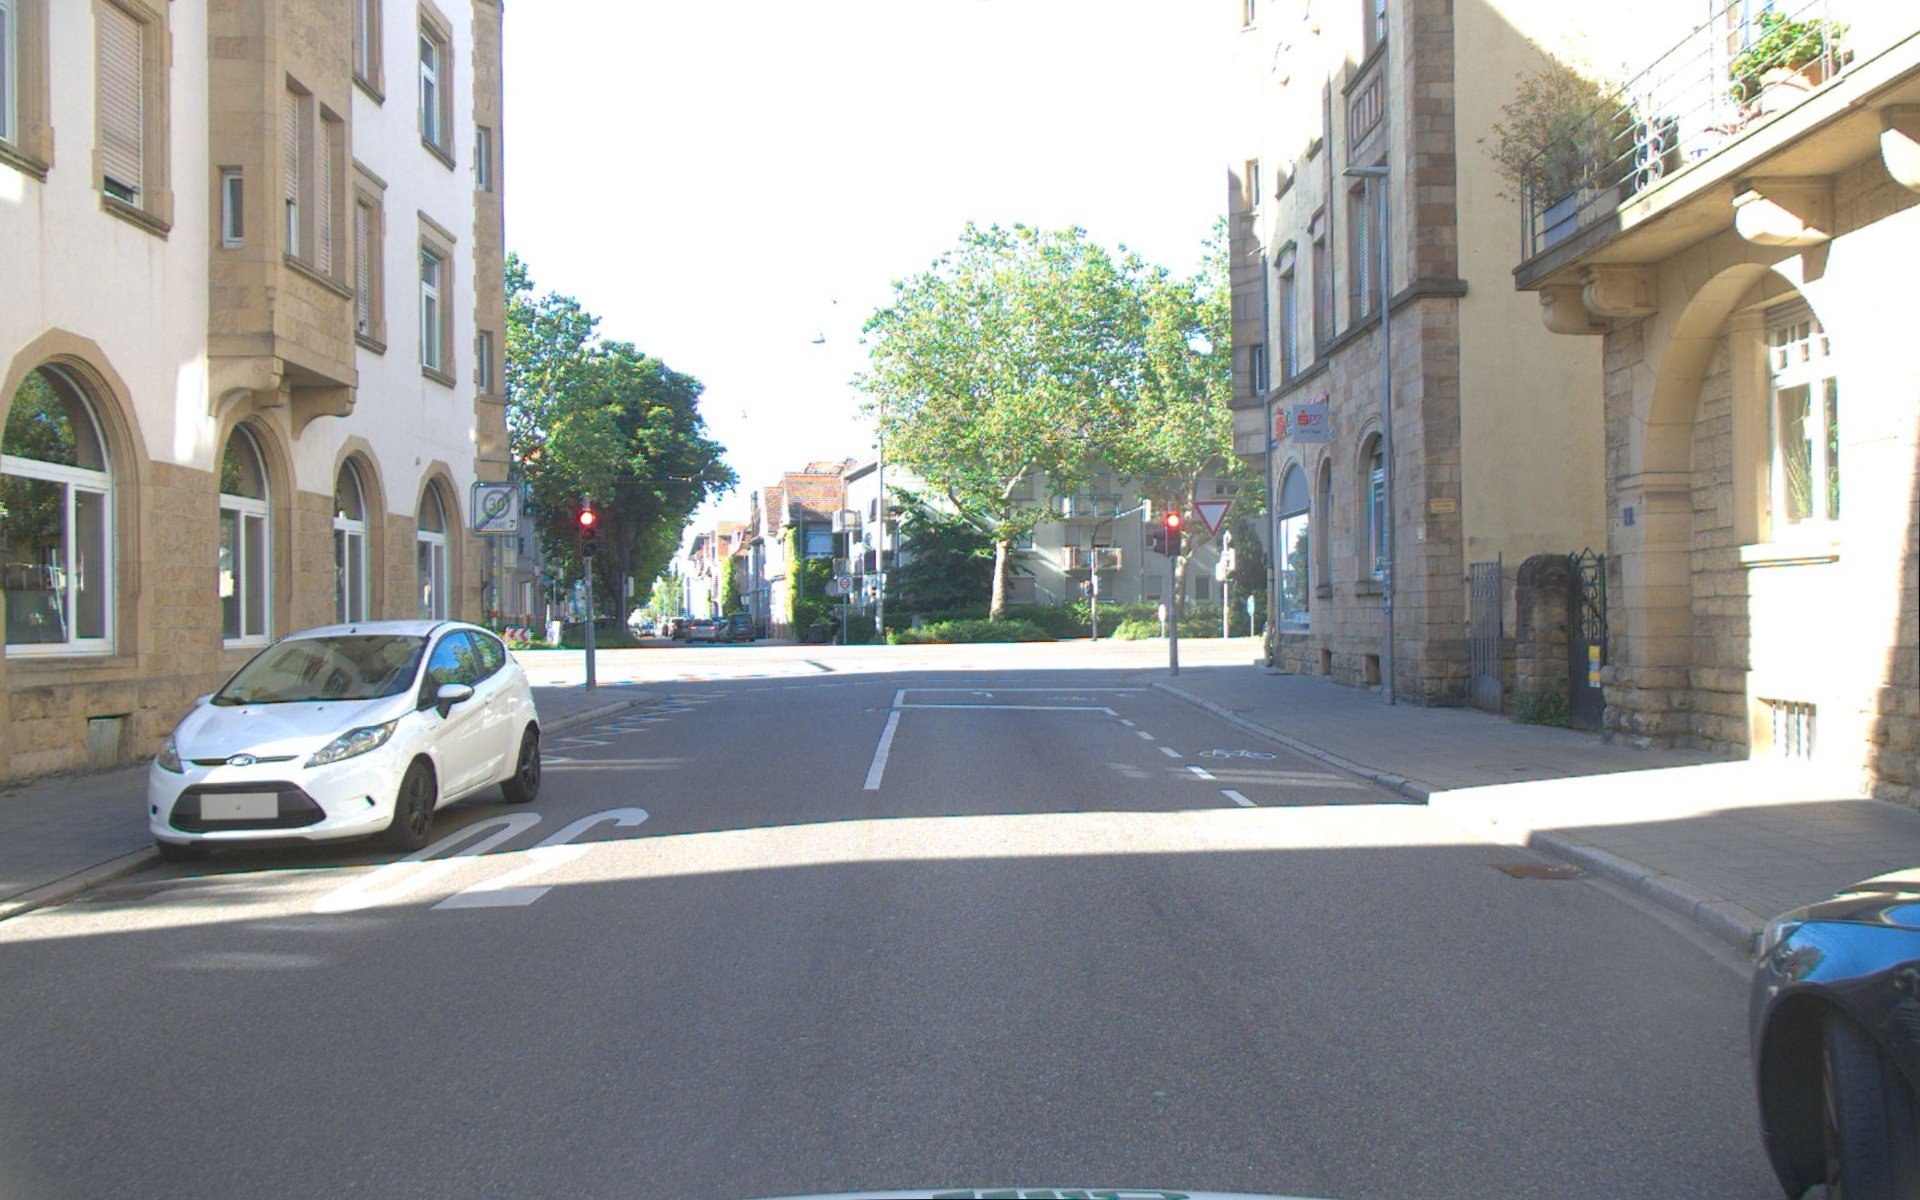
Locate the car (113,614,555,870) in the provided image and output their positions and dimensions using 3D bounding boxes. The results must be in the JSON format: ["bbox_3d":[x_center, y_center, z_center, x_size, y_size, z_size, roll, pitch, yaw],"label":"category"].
[{"bbox_3d":[-4.190,0.864,11.729,1.600,1.489,3.735,-1,0,2],"label":"car"}]

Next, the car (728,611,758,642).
[{"bbox_3d":[-15.057,1.801,114.710,1.957,2.049,3.992,-1,0,-9],"label":"car"}]

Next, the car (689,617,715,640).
[{"bbox_3d":[-17.807,1.963,114.176,1.644,1.509,3.512,0,-1,-11],"label":"car"}]

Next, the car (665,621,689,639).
[{"bbox_3d":[-23.335,2.453,136.317,1.708,1.360,3.822,-1,0,-12],"label":"car"}]

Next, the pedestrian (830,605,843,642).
[{"bbox_3d":[-5.962,1.153,80.089,0.620,1.780,0.659,0,-1,-3],"label":"pedestrian"}]

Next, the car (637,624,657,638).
[{"bbox_3d":[-35.162,3.430,185.888,1.959,1.471,3.986,-1,0,-13],"label":"car"}]

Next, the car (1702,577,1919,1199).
[{"bbox_3d":[2.823,0.685,1.999,1.828,1.488,4.338,-1,0,-1],"label":"car"}]
